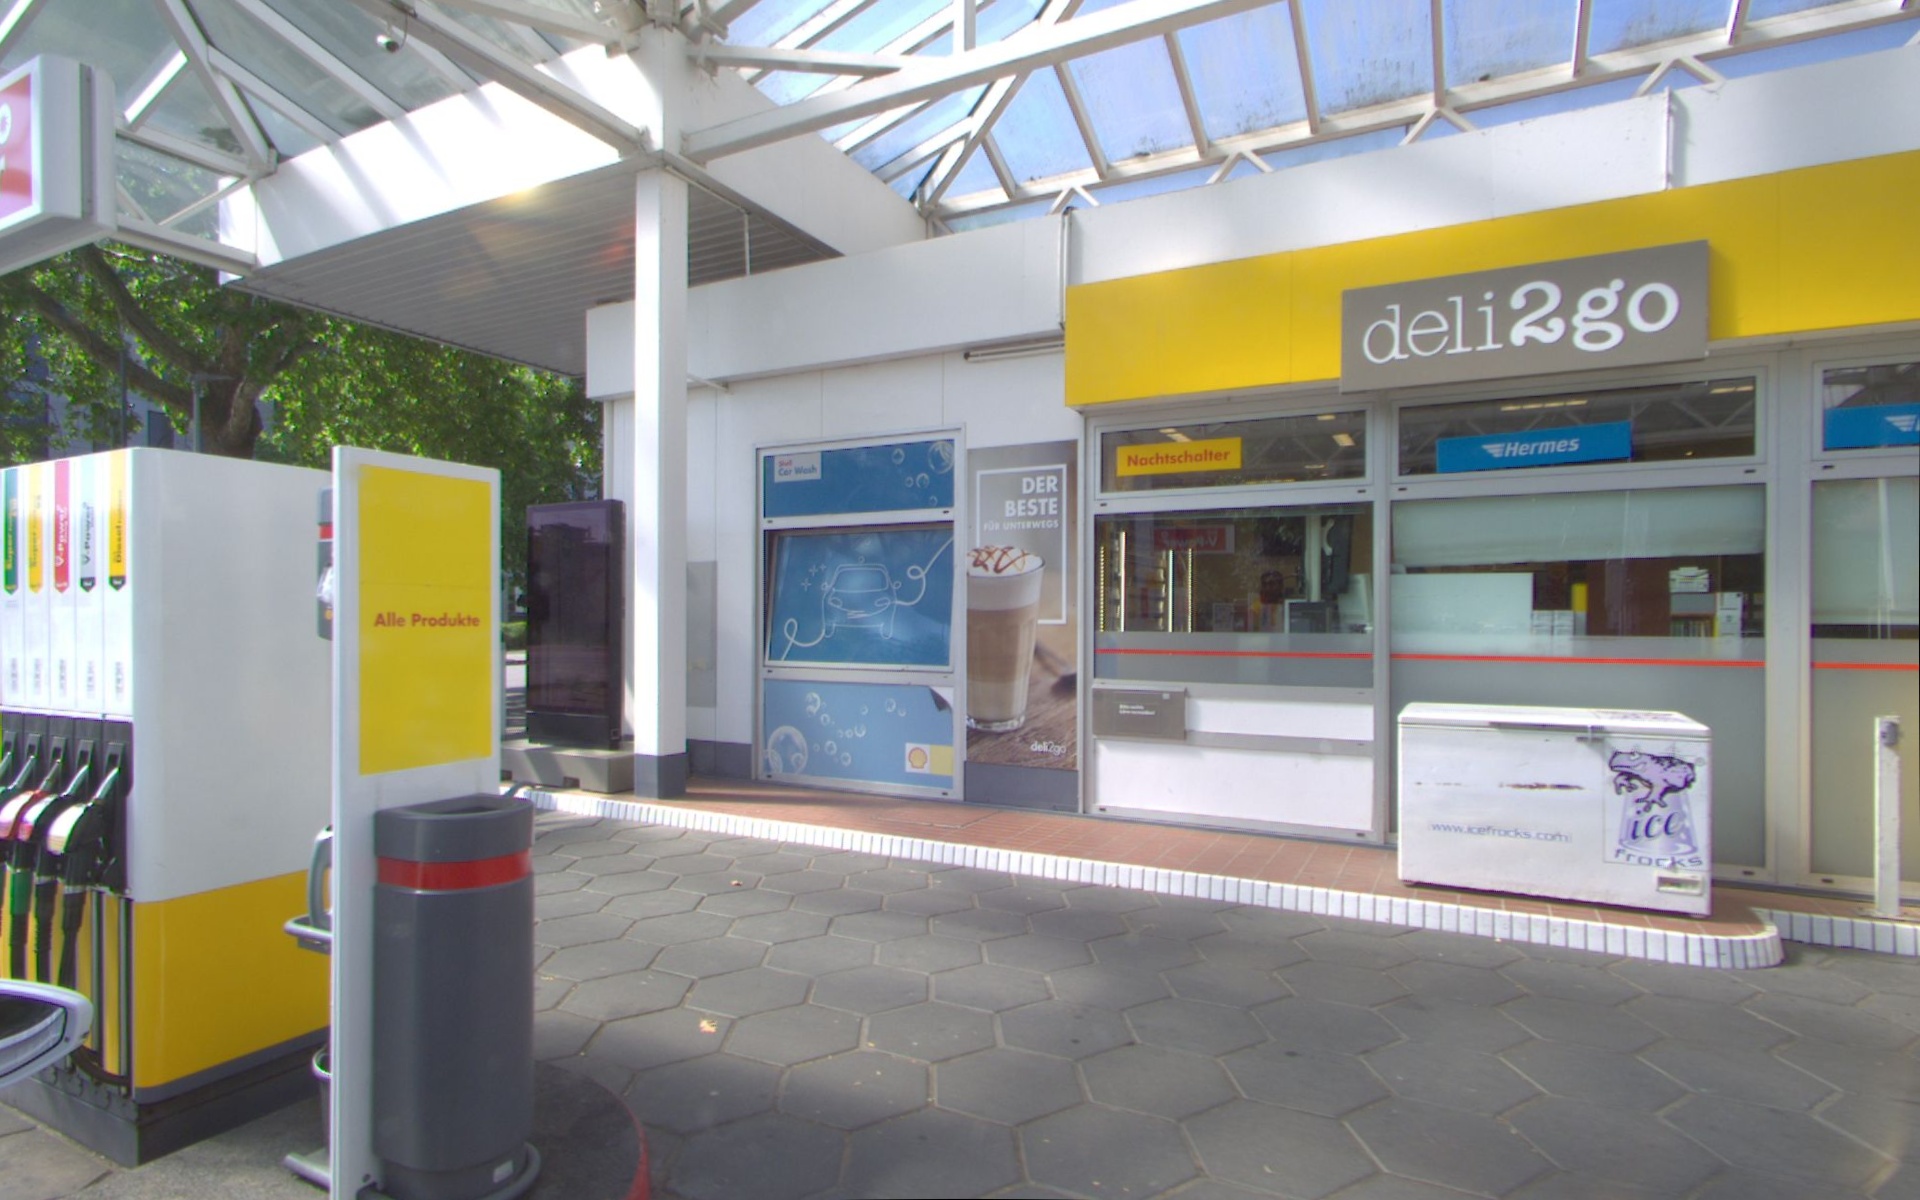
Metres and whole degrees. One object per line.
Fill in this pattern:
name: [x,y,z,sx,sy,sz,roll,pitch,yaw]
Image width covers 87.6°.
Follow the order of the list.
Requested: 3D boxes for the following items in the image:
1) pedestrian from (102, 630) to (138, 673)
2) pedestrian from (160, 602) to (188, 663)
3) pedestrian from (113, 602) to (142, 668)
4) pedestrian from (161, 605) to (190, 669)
pedestrian: [-22.648,1.380,26.991,0.517,1.152,0.626,0,0,34]
pedestrian: [-22.994,0.941,29.300,0.516,1.758,0.498,0,0,31]
pedestrian: [-22.521,0.944,27.090,0.400,1.758,0.498,0,0,31]
pedestrian: [-21.966,1.027,28.040,0.516,1.758,0.498,0,0,31]
